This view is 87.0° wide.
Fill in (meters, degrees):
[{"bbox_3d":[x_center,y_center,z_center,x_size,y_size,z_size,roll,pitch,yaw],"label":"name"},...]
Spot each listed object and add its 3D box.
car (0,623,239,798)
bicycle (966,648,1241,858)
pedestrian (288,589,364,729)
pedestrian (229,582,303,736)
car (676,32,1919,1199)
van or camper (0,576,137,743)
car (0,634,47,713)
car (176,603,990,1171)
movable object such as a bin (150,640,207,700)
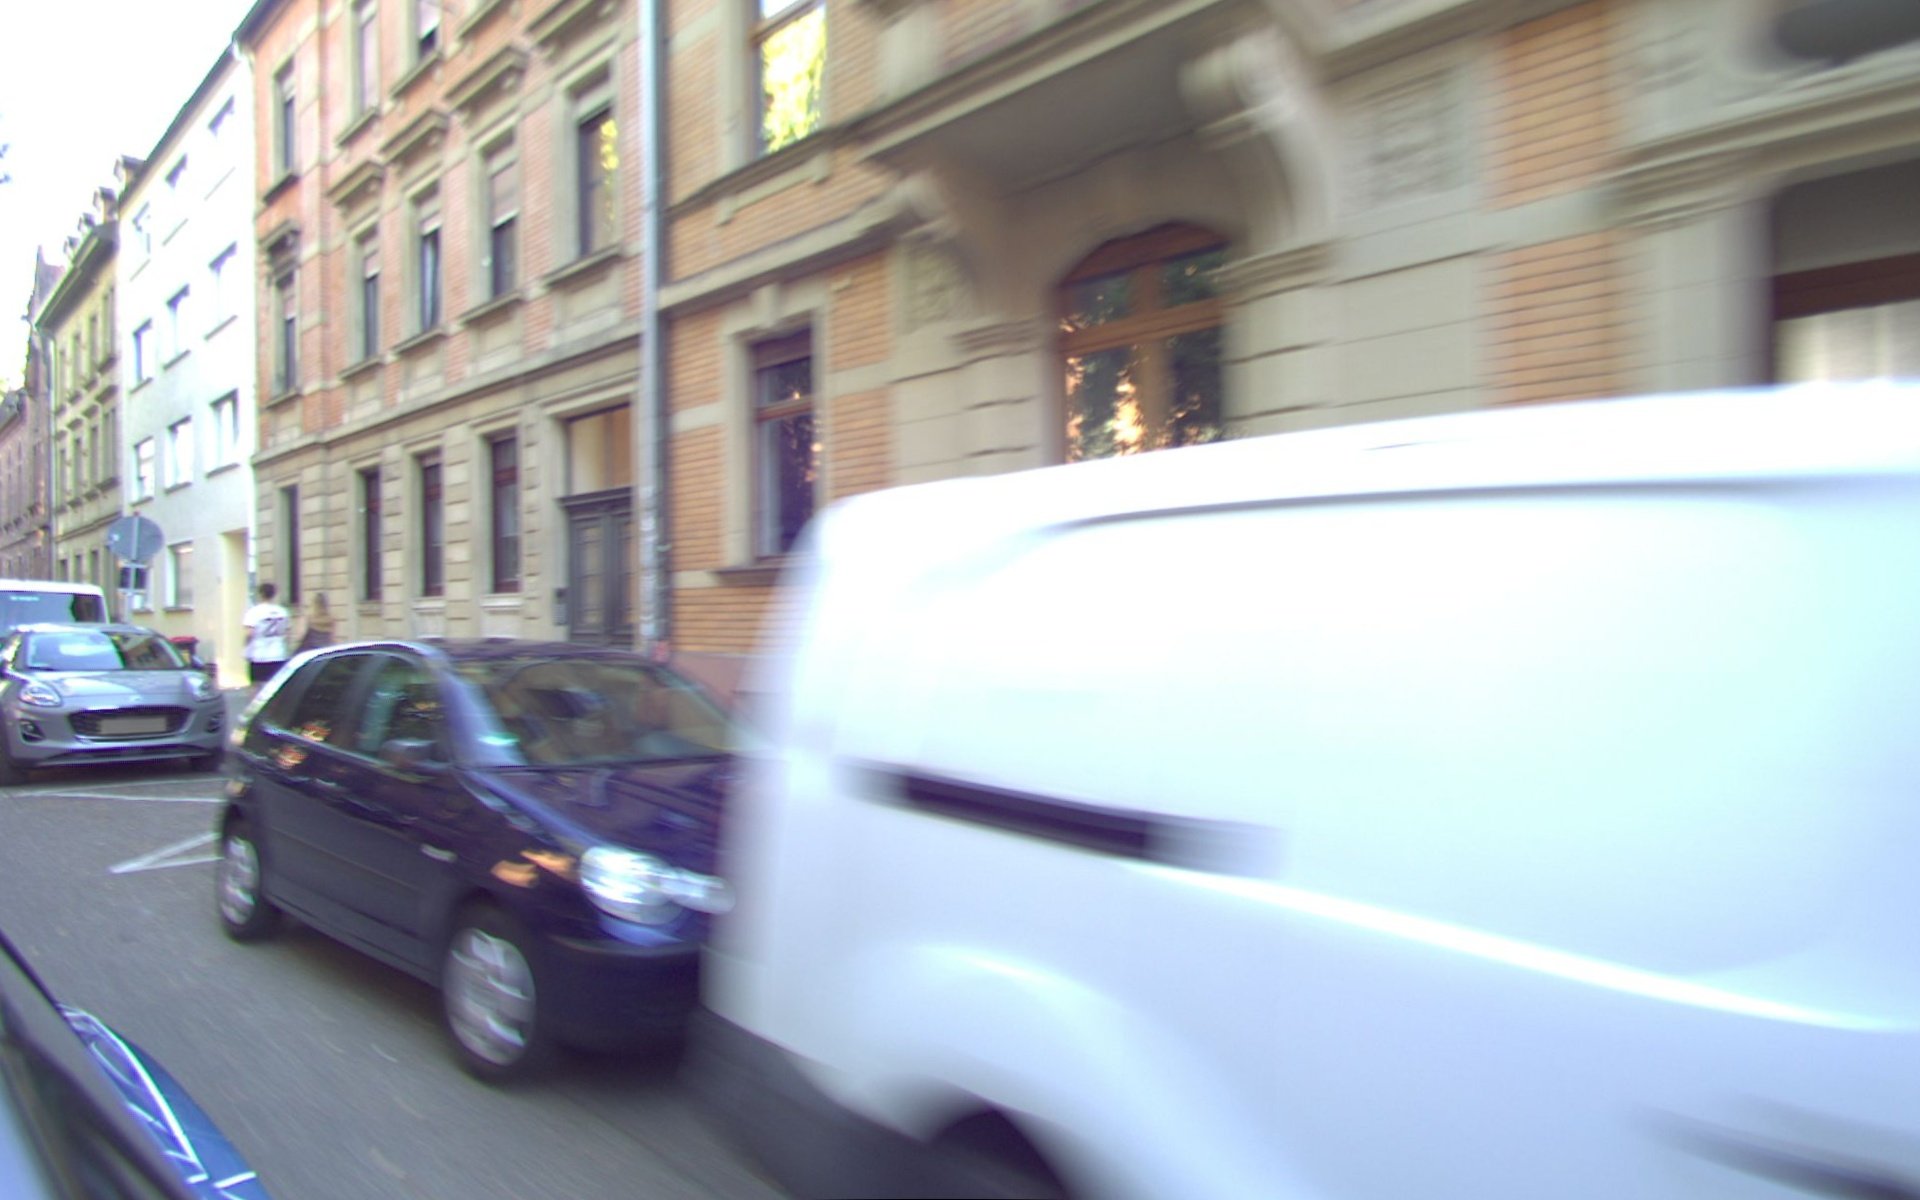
[{"bbox_3d":[-9.426,1.042,10.869,4.190,1.526,1.748,-2,-3,40],"label":"car"},{"bbox_3d":[0.819,0.841,6.048,1.545,1.049,0.565,-1,1,41],"label":"bicycle"},{"bbox_3d":[-8.375,0.749,13.373,0.649,1.785,0.694,0,0,41],"label":"pedestrian"},{"bbox_3d":[-8.898,0.719,12.973,0.904,1.896,0.573,0,0,41],"label":"pedestrian"},{"bbox_3d":[1.749,0.446,1.224,4.569,1.825,1.812,-2,-3,41],"label":"car"},{"bbox_3d":[-14.135,0.840,15.067,5.153,2.164,2.153,-2,-3,43],"label":"van or camper"},{"bbox_3d":[-18.845,1.349,19.292,4.314,1.413,1.712,-2,-3,43],"label":"car"},{"bbox_3d":[-1.948,0.842,4.647,3.968,1.526,1.676,-1,-3,38],"label":"car"},{"bbox_3d":[-15.286,1.358,19.798,0.666,1.096,0.791,0,0,45],"label":"movable object such as a bin"}]
